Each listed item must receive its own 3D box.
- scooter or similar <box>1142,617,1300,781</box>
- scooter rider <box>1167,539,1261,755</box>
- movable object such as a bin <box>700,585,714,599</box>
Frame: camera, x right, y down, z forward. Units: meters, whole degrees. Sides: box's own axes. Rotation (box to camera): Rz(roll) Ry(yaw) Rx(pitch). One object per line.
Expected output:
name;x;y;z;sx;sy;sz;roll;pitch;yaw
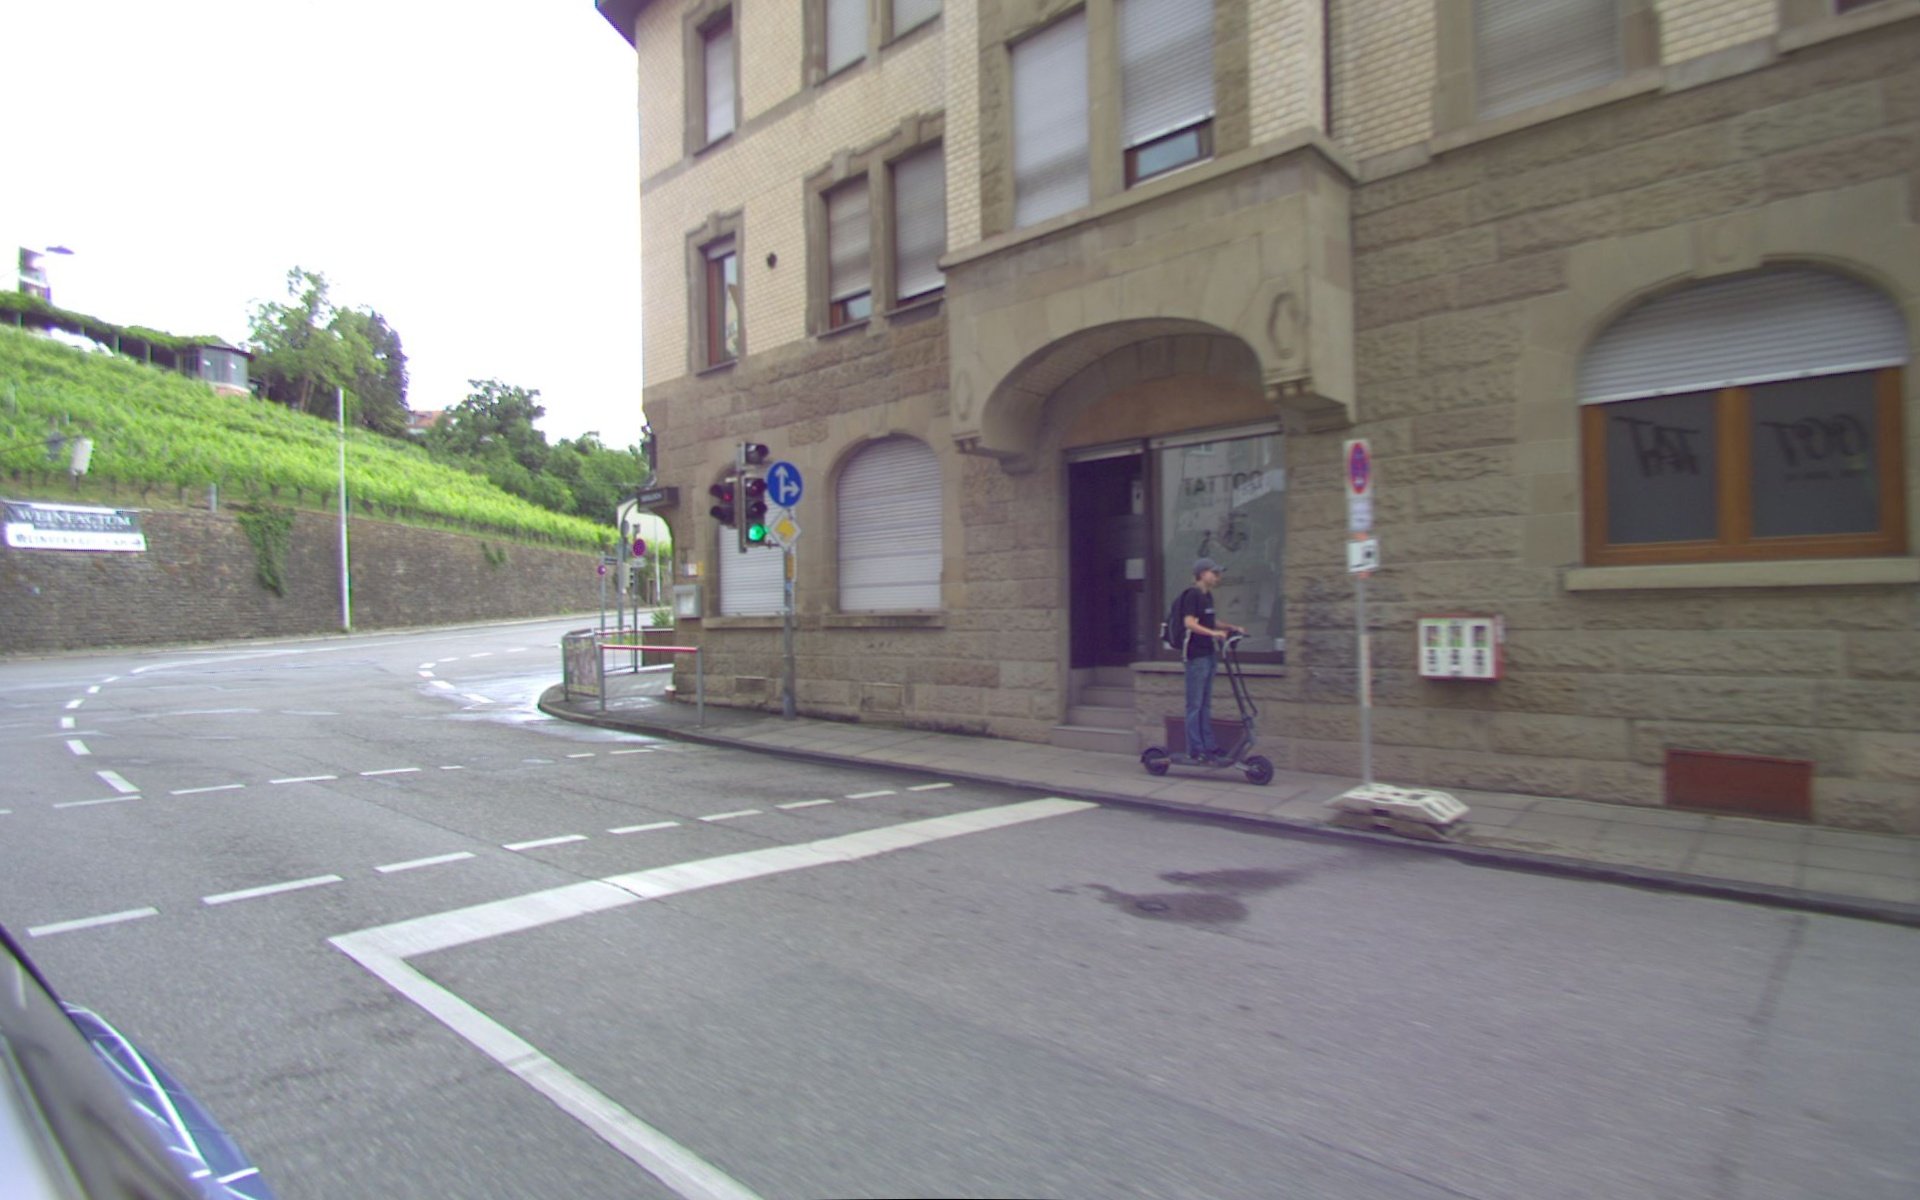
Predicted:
scooter or similar;2.148;0.776;8.403;1.226;1.251;0.374;-1;1;43
scooter rider;2.115;0.374;8.428;0.577;1.718;0.482;-1;1;43
movable object such as a bin;-20.396;-0.657;81.463;0.802;1.135;0.872;-1;1;10
